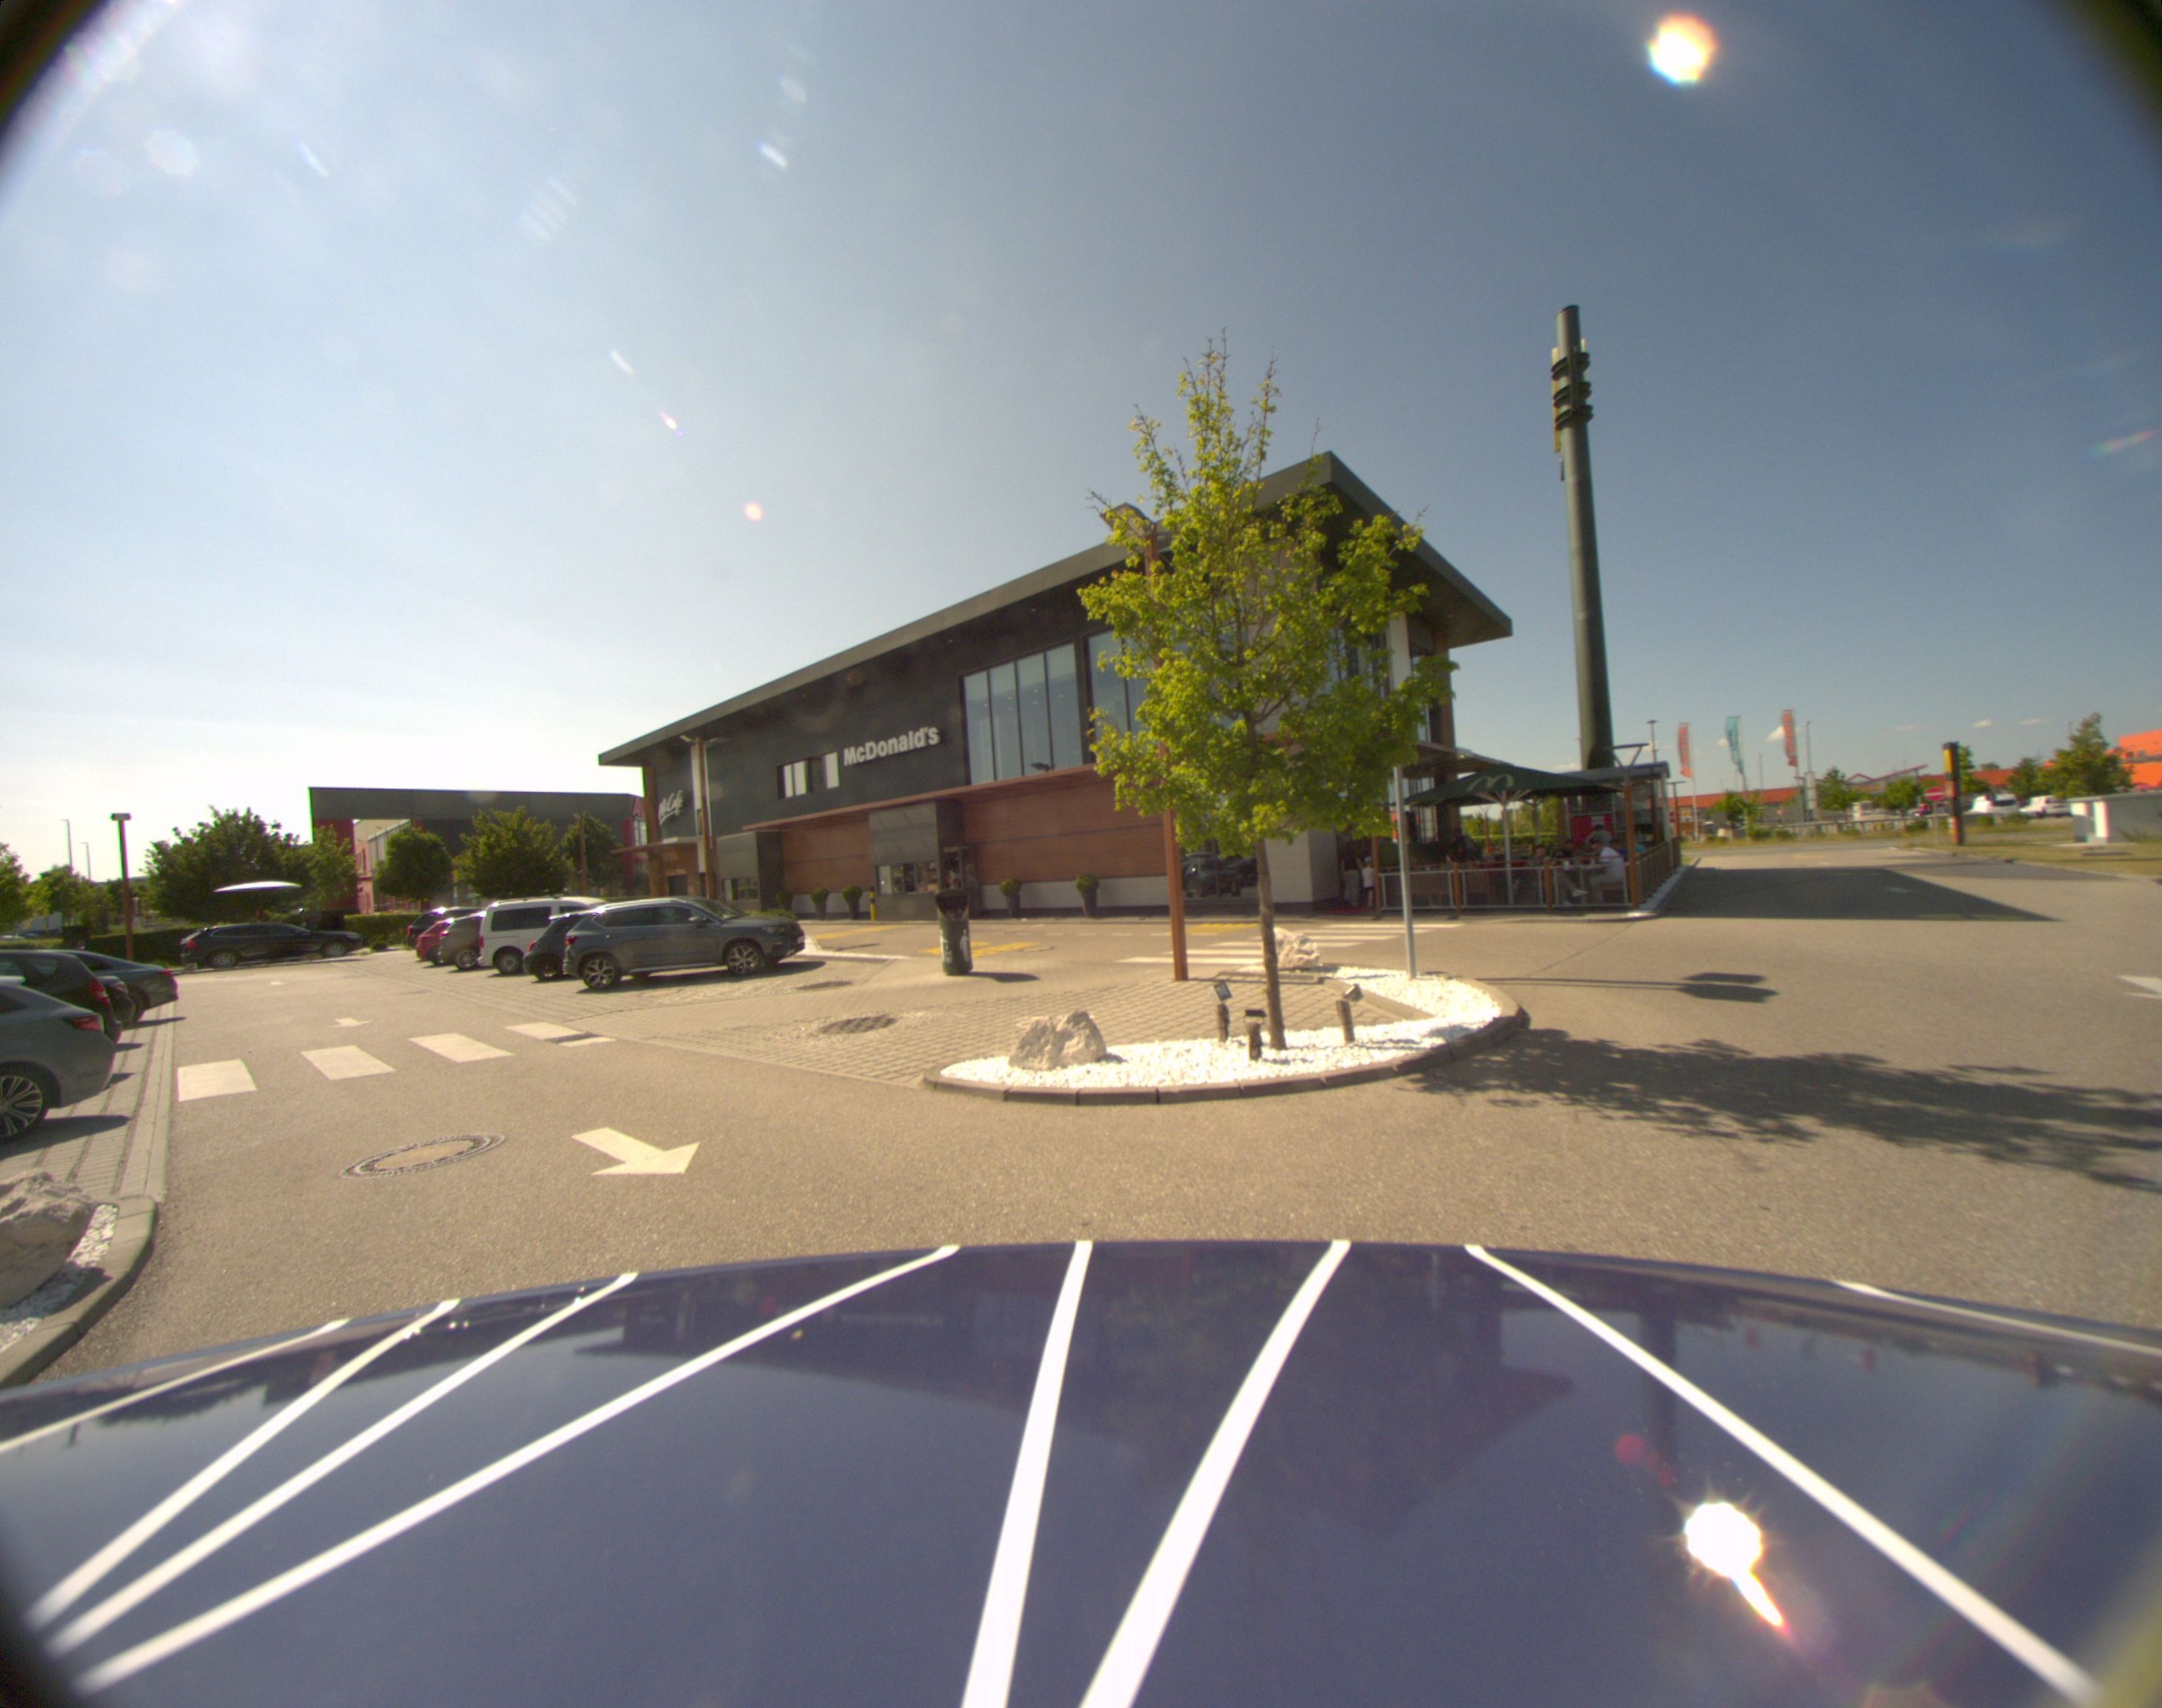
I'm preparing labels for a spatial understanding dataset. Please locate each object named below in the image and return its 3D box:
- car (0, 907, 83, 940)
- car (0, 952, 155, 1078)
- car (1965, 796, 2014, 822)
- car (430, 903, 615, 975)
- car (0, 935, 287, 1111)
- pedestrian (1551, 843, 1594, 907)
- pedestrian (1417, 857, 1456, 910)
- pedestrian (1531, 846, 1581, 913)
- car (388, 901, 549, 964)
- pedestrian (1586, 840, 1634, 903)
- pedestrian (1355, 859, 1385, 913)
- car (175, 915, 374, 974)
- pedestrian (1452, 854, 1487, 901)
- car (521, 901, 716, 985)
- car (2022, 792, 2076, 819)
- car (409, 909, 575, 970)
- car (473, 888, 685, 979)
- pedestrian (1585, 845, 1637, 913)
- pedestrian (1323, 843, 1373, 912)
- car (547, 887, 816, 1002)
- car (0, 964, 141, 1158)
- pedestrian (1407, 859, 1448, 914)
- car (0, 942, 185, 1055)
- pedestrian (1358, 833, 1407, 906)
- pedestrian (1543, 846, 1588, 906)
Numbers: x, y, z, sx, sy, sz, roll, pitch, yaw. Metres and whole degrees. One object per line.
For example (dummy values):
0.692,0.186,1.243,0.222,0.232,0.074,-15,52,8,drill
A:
-84.182,5.568,59.806,2.295,2.231,6.584,-4,-1,40,car
-14.910,2.237,9.441,1.828,1.440,4.075,-4,-1,-3,car
78.782,-3.865,65.970,1.995,2.002,4.008,-3,0,40,car
-16.010,2.398,22.002,3.846,1.622,1.756,-4,0,-16,car
-12.425,2.002,8.994,1.811,1.584,4.000,-4,-1,-2,car
10.036,0.422,15.520,0.633,1.250,0.525,-4,-1,36,pedestrian
7.873,0.643,16.828,0.633,1.117,0.525,-4,-1,36,pedestrian
9.343,0.498,14.944,0.714,1.250,0.525,-4,-1,36,pedestrian
-21.365,2.692,26.727,4.044,1.696,1.672,-4,0,-28,car
11.100,0.369,15.944,0.728,1.250,0.574,-4,-1,35,pedestrian
6.577,0.727,17.281,0.447,1.179,0.492,-4,0,34,pedestrian
-30.956,3.396,29.326,1.920,1.620,5.074,-4,-1,39,car
9.538,0.566,18.634,0.572,1.094,0.657,-4,-1,39,pedestrian
-10.553,1.999,17.559,3.415,1.473,1.567,-4,0,-11,car
81.604,-4.038,64.105,1.995,2.002,4.008,-3,0,40,car
-18.708,2.670,24.332,3.775,1.435,1.672,-4,0,-21,car
-12.931,2.001,19.825,4.145,1.910,1.757,-4,0,-10,car
10.241,0.477,14.682,0.728,1.250,0.574,-4,-1,35,pedestrian
6.318,0.554,17.977,0.730,1.574,0.739,-4,-1,-40,pedestrian
-7.746,1.711,15.114,4.226,1.594,1.789,-6,2,-6,car
-9.452,1.694,4.586,1.835,1.438,4.663,-4,-2,-3,car
7.436,0.690,16.285,0.633,1.117,0.525,-4,-1,36,pedestrian
-17.792,2.444,12.043,1.886,1.502,4.542,-4,-1,-4,car
7.580,0.375,19.104,0.894,1.757,0.805,-4,0,32,pedestrian
10.517,0.480,16.484,0.714,1.250,0.525,-4,-1,36,pedestrian
